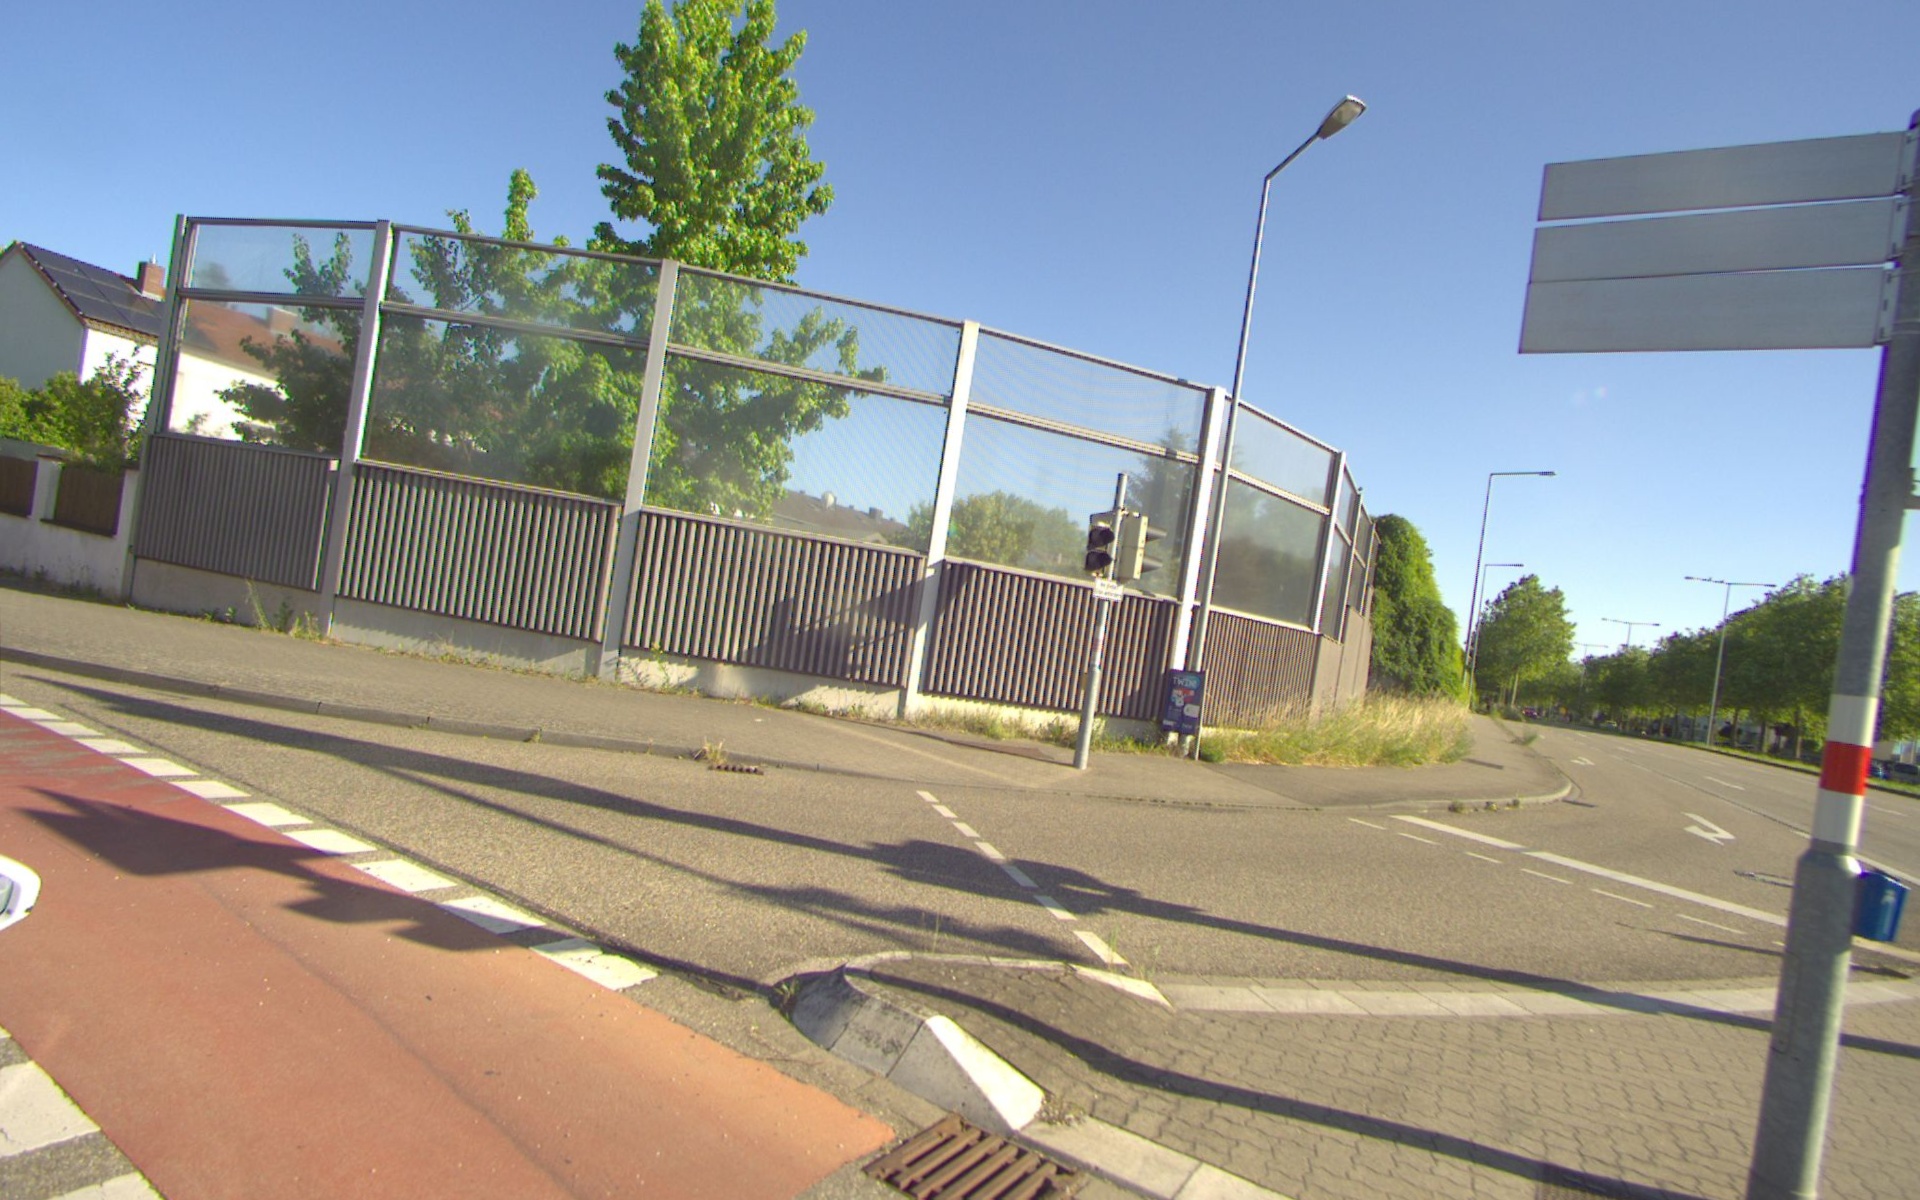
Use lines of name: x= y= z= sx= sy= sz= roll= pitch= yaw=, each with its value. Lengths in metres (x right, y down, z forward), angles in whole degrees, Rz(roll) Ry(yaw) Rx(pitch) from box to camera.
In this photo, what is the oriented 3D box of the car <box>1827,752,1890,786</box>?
car: x=56.141 y=10.555 z=62.920 sx=1.706 sy=1.458 sz=3.792 roll=10 pitch=0 yaw=25
